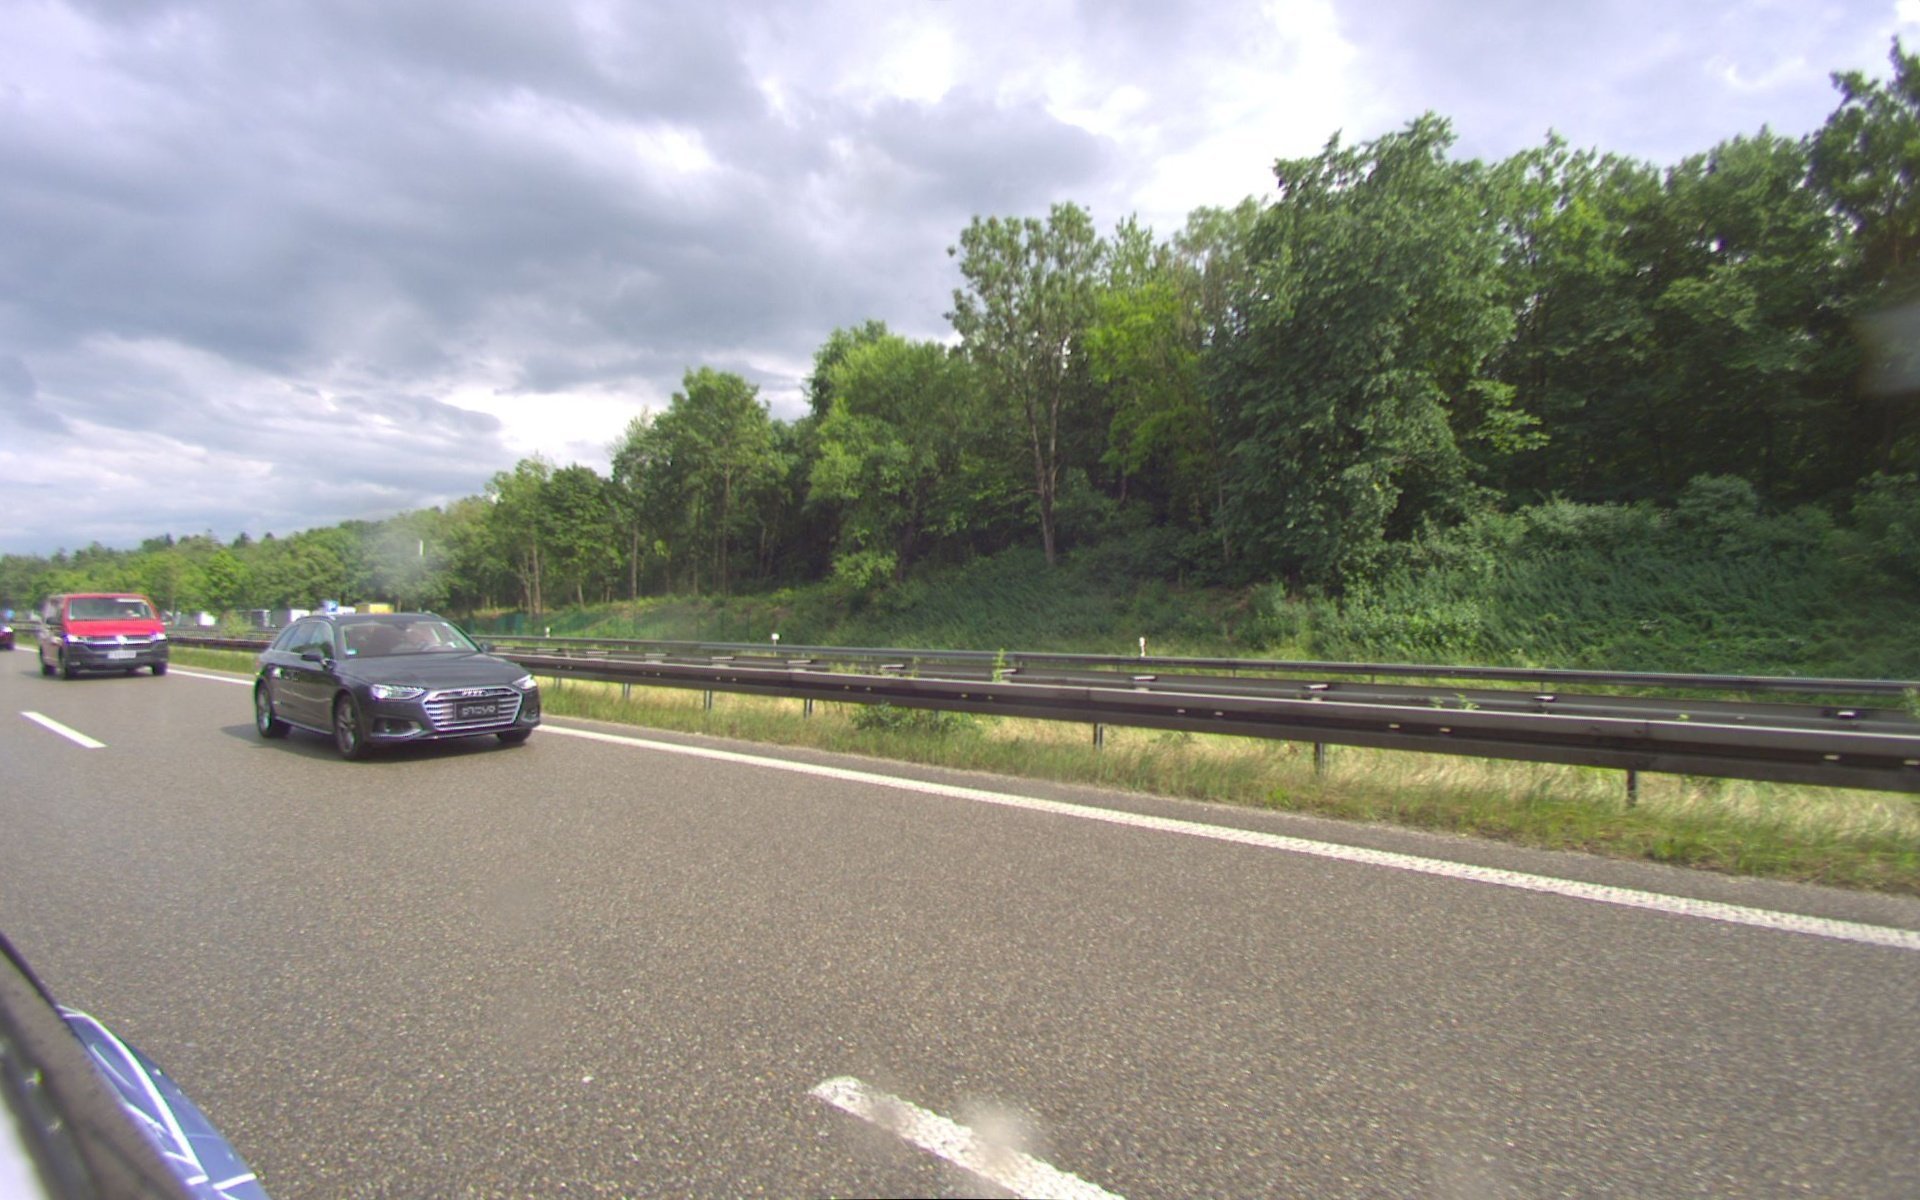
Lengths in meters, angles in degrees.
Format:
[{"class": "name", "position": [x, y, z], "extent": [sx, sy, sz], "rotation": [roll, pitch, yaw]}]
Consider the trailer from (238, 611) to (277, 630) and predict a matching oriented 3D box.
[{"class": "trailer", "position": [-126.997, 3.666, 182.806], "extent": [12.640, 3.296, 2.577], "rotation": [-1, -2, 41]}]

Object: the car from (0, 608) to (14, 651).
[{"class": "car", "position": [-39.701, 1.179, 40.766], "extent": [4.292, 1.682, 1.871], "rotation": [-1, -1, 40]}]

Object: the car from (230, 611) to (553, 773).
[{"class": "car", "position": [-6.435, 0.859, 11.219], "extent": [4.465, 1.422, 1.702], "rotation": [-1, 0, 41]}]

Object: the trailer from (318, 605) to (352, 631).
[{"class": "trailer", "position": [-90.312, 2.652, 146.085], "extent": [2.156, 3.627, 11.734], "rotation": [2, -2, -42]}]

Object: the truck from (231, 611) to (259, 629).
[{"class": "truck", "position": [-132.559, 3.741, 187.573], "extent": [6.532, 3.275, 2.549], "rotation": [0, -2, 41]}]

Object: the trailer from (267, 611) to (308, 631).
[{"class": "trailer", "position": [-113.263, 3.555, 170.340], "extent": [12.173, 3.217, 2.987], "rotation": [-1, -2, 43]}]

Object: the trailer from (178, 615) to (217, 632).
[{"class": "trailer", "position": [-154.078, 4.668, 204.449], "extent": [12.631, 3.296, 3.153], "rotation": [-1, -2, 38]}]

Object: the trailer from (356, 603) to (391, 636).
[{"class": "trailer", "position": [-71.472, 2.296, 123.157], "extent": [1.967, 3.722, 13.688], "rotation": [-1, 0, -37]}]

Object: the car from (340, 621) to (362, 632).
[{"class": "car", "position": [-82.737, 3.619, 137.411], "extent": [1.871, 1.514, 4.005], "rotation": [2, -2, -42]}]

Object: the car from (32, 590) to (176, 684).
[{"class": "car", "position": [-20.216, 0.817, 23.831], "extent": [4.747, 2.000, 1.871], "rotation": [-1, -1, 41]}]

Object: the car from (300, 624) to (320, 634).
[{"class": "car", "position": [-102.306, 4.538, 159.222], "extent": [4.002, 1.514, 1.873], "rotation": [-1, -2, 45]}]
